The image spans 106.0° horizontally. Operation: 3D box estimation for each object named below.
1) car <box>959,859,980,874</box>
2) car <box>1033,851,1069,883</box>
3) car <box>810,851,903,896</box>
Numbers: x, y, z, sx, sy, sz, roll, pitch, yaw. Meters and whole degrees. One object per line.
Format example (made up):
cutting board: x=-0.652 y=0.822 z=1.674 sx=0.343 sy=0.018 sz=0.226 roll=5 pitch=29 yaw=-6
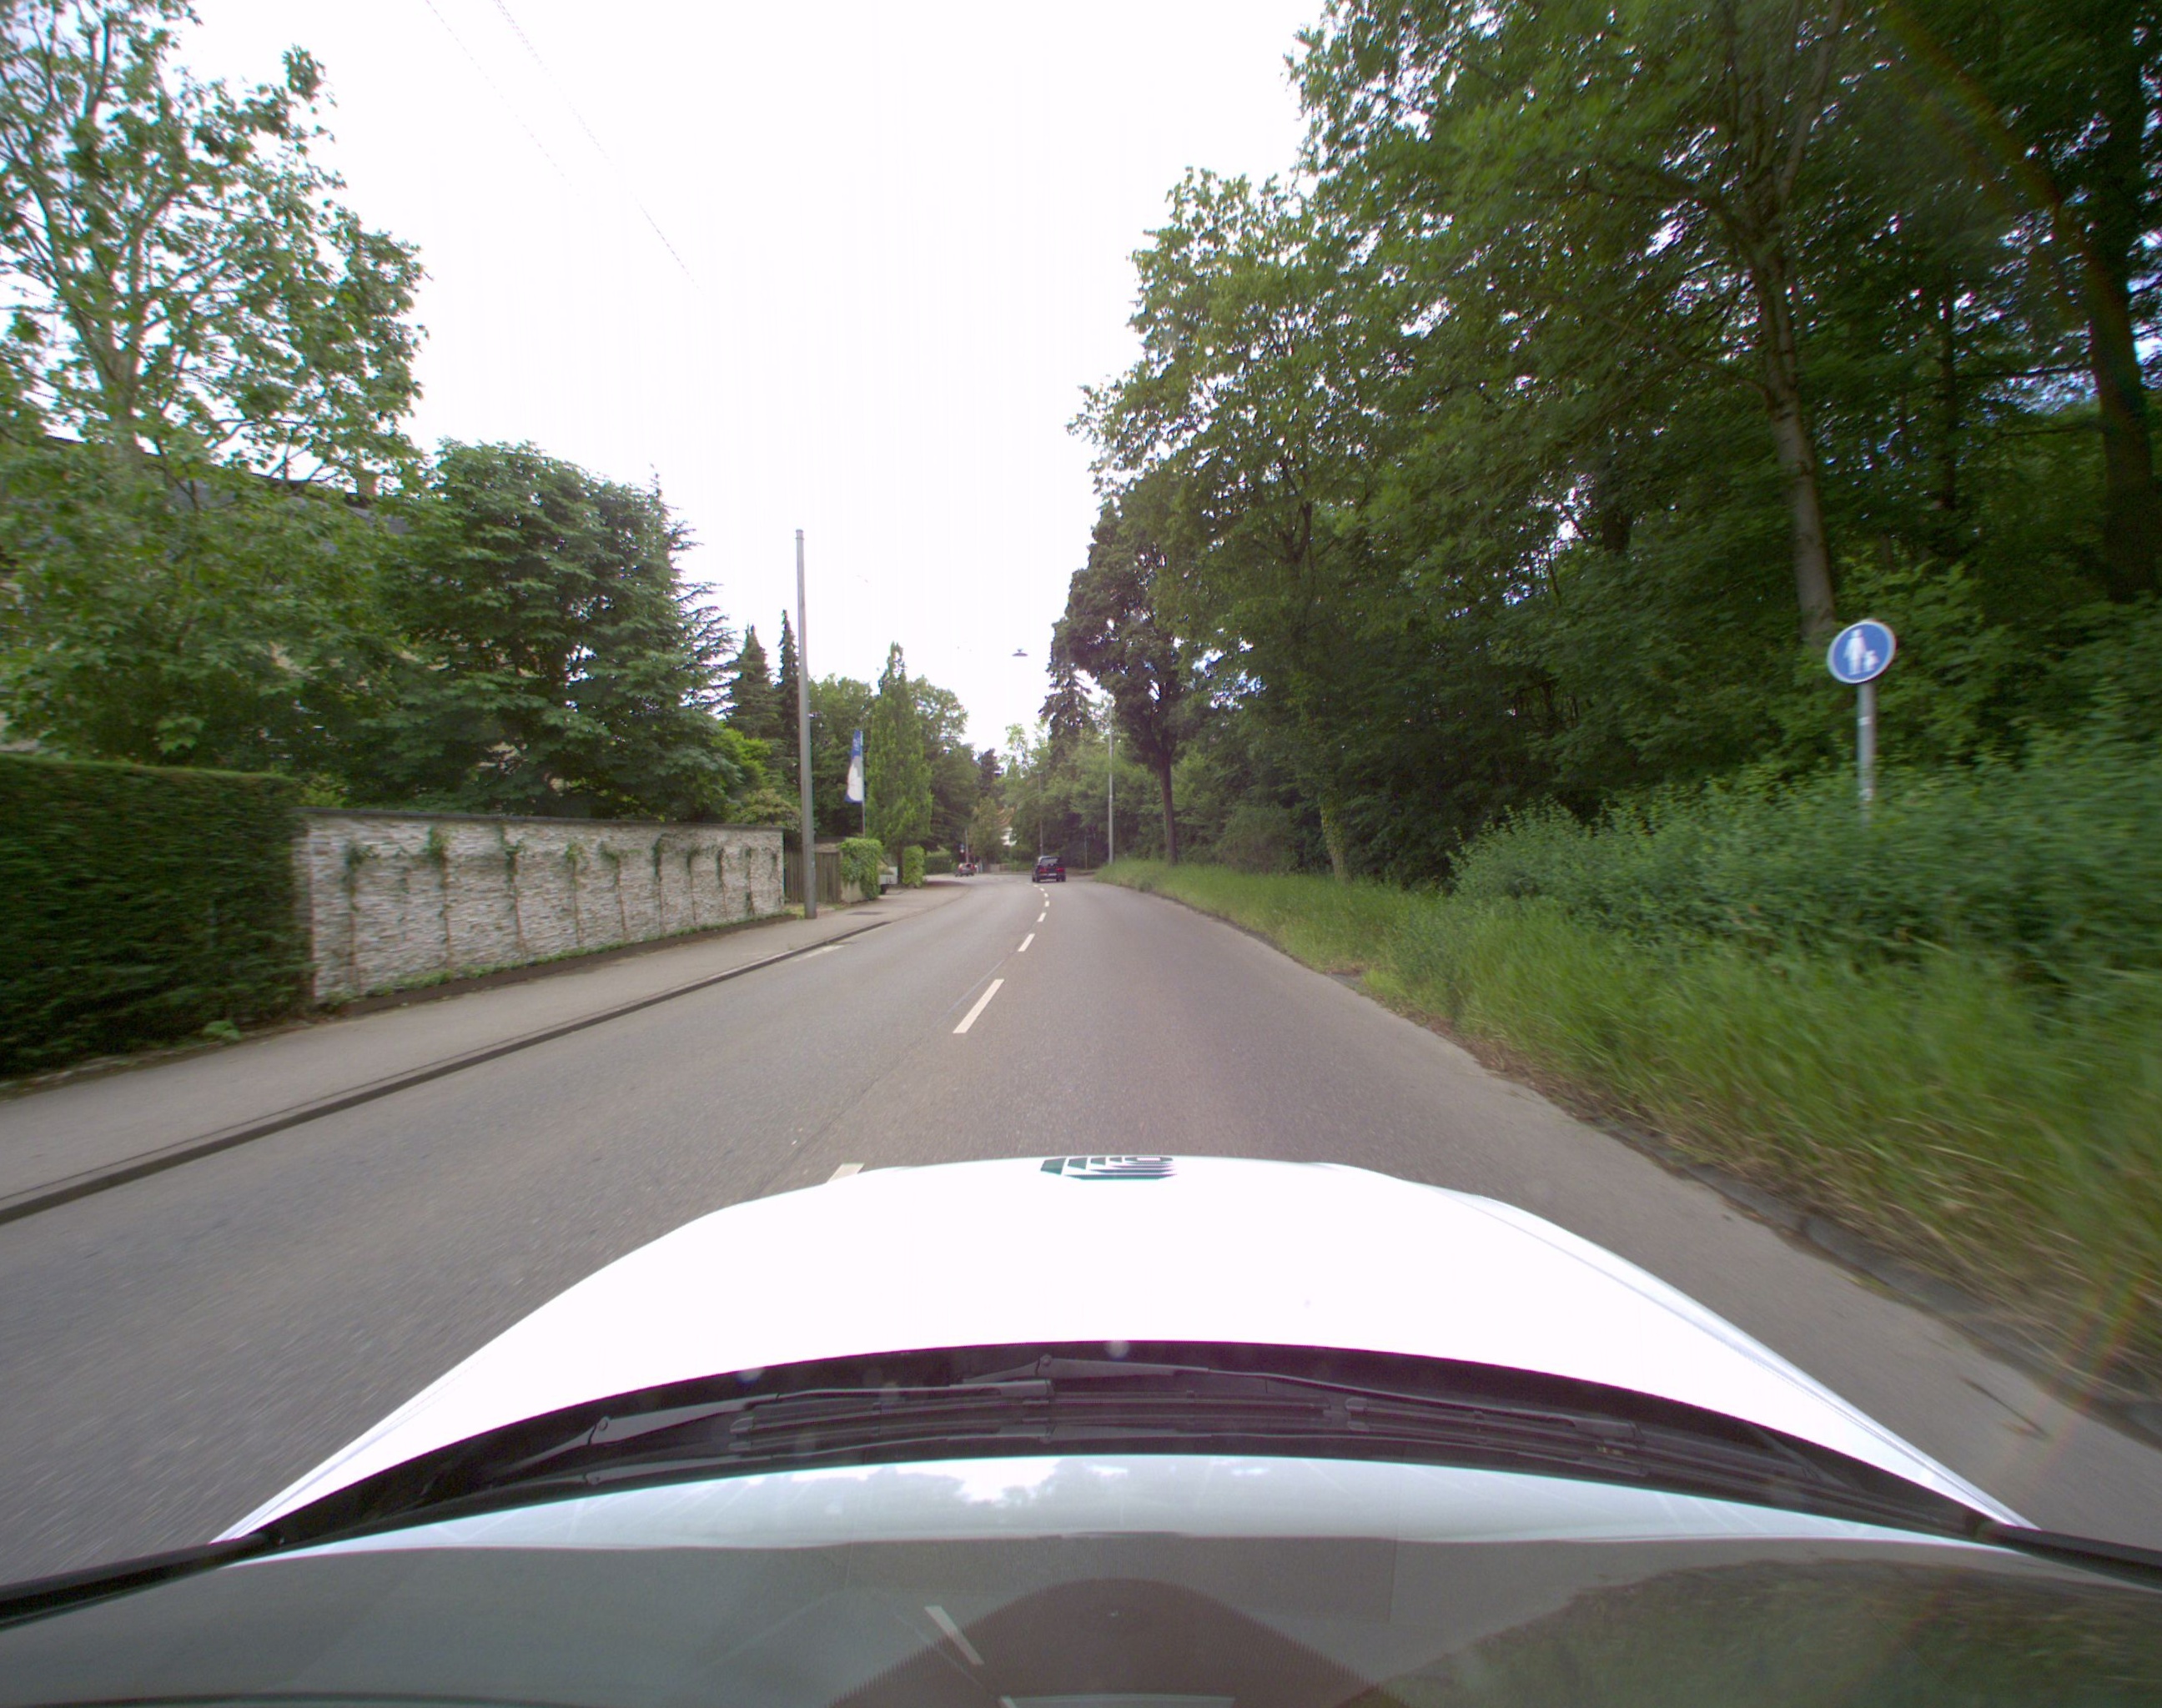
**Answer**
car: x=-13.101 y=1.490 z=95.577 sx=1.997 sy=1.618 sz=3.979 roll=-2 pitch=1 yaw=-15
car: x=-1.982 y=0.815 z=53.277 sx=1.991 sy=1.881 sz=3.991 roll=-2 pitch=1 yaw=-7
car: x=-11.298 y=0.972 z=40.760 sx=2.439 sy=2.073 sz=5.298 roll=-2 pitch=0 yaw=-40
